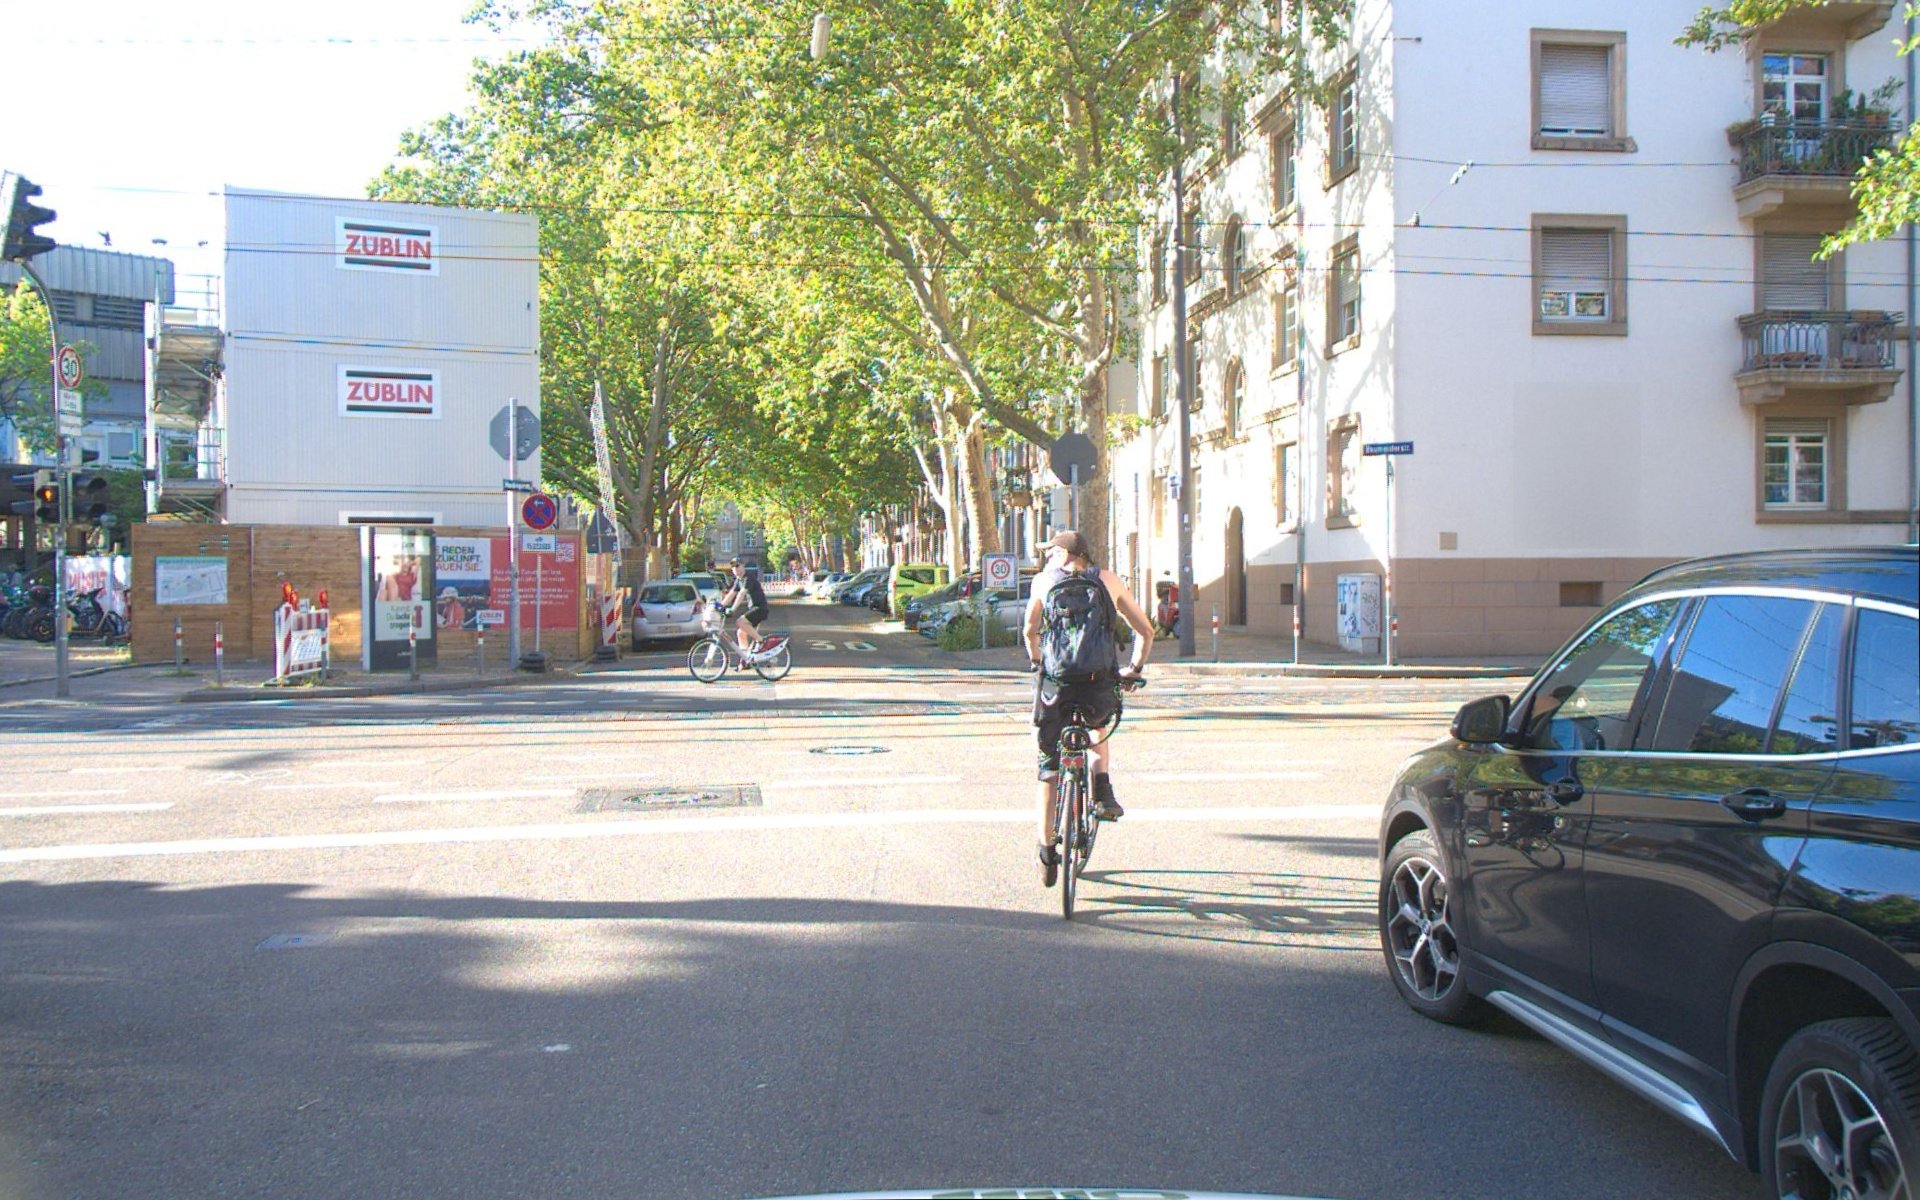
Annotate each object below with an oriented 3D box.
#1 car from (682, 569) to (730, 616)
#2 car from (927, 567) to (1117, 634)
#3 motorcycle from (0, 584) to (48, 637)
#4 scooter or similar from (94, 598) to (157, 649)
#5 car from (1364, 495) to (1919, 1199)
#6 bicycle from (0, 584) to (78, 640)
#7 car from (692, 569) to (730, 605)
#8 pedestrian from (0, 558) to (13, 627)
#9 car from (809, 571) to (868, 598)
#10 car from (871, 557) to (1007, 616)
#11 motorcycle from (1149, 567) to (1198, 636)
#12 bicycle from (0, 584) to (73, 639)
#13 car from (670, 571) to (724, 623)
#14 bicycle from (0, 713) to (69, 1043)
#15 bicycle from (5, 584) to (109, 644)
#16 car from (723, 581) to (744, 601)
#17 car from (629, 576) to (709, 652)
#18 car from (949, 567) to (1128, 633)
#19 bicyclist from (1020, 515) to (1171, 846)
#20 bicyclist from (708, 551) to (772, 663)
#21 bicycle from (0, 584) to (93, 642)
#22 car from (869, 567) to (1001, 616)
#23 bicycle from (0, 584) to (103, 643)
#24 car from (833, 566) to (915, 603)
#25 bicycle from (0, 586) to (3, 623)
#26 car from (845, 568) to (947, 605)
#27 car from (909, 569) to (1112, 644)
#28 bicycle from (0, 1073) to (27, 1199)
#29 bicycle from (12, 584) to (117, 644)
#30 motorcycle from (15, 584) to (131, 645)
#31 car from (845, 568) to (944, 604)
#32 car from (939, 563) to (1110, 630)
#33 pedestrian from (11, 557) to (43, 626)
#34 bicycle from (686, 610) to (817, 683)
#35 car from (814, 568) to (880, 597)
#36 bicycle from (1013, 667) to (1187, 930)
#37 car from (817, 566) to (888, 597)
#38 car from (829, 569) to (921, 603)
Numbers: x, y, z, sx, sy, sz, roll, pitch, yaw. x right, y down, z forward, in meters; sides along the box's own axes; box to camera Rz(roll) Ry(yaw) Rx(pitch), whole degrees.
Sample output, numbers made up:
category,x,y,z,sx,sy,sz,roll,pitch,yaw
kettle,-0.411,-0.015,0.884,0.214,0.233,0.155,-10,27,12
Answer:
category,x,y,z,sx,sy,sz,roll,pitch,yaw
car,-9.075,-0.294,59.089,1.634,1.590,4.510,-1,1,-9
car,1.470,-0.010,40.182,4.378,1.526,1.725,-1,1,-9
motorcycle,-23.833,0.261,40.886,0.534,1.279,2.196,1,2,44
scooter or similar,-18.177,0.503,36.058,0.376,1.038,1.489,0,2,11
car,2.552,0.646,4.509,1.725,1.691,4.196,1,1,-2
bicycle,-22.437,0.287,39.819,0.534,1.279,2.035,1,2,45
car,-11.397,-0.623,75.649,1.634,1.590,4.607,-1,1,-9
pedestrian,-28.991,-0.221,49.421,0.784,2.048,0.939,0,1,3
car,-9.222,-1.195,125.243,4.378,1.931,1.725,-1,1,-9
car,-0.729,-0.466,55.513,4.379,1.868,1.725,-1,1,-9
motorcycle,4.357,0.014,33.909,0.504,1.356,1.760,-1,1,-9
bicycle,-22.800,0.285,40.282,0.534,1.279,2.035,1,2,45
car,-8.474,-0.131,53.423,1.634,1.590,3.992,-1,1,-9
bicycle,-3.985,1.025,6.551,0.454,1.064,1.663,-1,3,-40
bicycle,-20.616,0.301,37.798,0.463,1.279,2.035,1,2,44
car,-18.634,-0.757,135.842,1.634,1.590,4.211,-1,1,-9
car,-6.546,0.272,37.432,1.613,1.520,3.992,-3,1,-9
car,1.993,-0.012,42.639,4.378,1.598,1.725,-1,1,-9
bicyclist,0.645,0.374,8.063,0.662,1.539,0.669,1,0,-1
bicyclist,-3.399,0.097,25.507,0.799,1.687,0.677,-1,1,-25
bicycle,-21.617,0.293,38.975,0.534,1.279,2.035,1,2,45
car,-0.886,-0.307,57.525,4.378,1.598,1.725,-1,1,-9
bicycle,-20.946,0.298,38.169,0.463,1.279,2.035,1,2,44
car,-4.729,-0.859,90.680,4.378,1.931,1.725,-1,1,-9
bicycle,-32.226,0.166,52.651,3.015,1.167,0.822,-1,1,1
car,-2.865,-0.623,73.924,4.378,1.598,1.725,-1,1,-9
car,1.121,0.114,37.661,4.378,1.598,1.725,-1,1,-9
bicycle,-2.176,1.230,2.498,1.285,0.832,0.370,-1,1,-11
bicycle,-20.275,0.303,37.472,0.463,1.279,2.035,1,2,44
motorcycle,-19.620,0.301,36.607,0.534,1.279,2.196,1,2,44
car,-3.044,-0.643,76.393,4.378,1.598,1.725,-1,1,-9
car,1.726,-0.108,44.705,4.378,1.700,1.725,-1,1,-9
pedestrian,-28.435,-0.270,50.395,0.792,2.048,1.020,-1,1,-31
bicycle,-3.224,0.705,25.595,1.891,1.036,0.677,-1,1,-26
car,-7.771,-1.192,113.455,4.378,1.931,1.725,-1,1,-9
bicycle,0.640,0.901,8.141,0.675,1.034,1.907,1,1,0
car,-6.899,-1.215,106.083,4.378,1.931,1.725,-1,1,-9
car,-4.168,-0.686,81.045,4.378,1.598,1.725,-1,1,-9
